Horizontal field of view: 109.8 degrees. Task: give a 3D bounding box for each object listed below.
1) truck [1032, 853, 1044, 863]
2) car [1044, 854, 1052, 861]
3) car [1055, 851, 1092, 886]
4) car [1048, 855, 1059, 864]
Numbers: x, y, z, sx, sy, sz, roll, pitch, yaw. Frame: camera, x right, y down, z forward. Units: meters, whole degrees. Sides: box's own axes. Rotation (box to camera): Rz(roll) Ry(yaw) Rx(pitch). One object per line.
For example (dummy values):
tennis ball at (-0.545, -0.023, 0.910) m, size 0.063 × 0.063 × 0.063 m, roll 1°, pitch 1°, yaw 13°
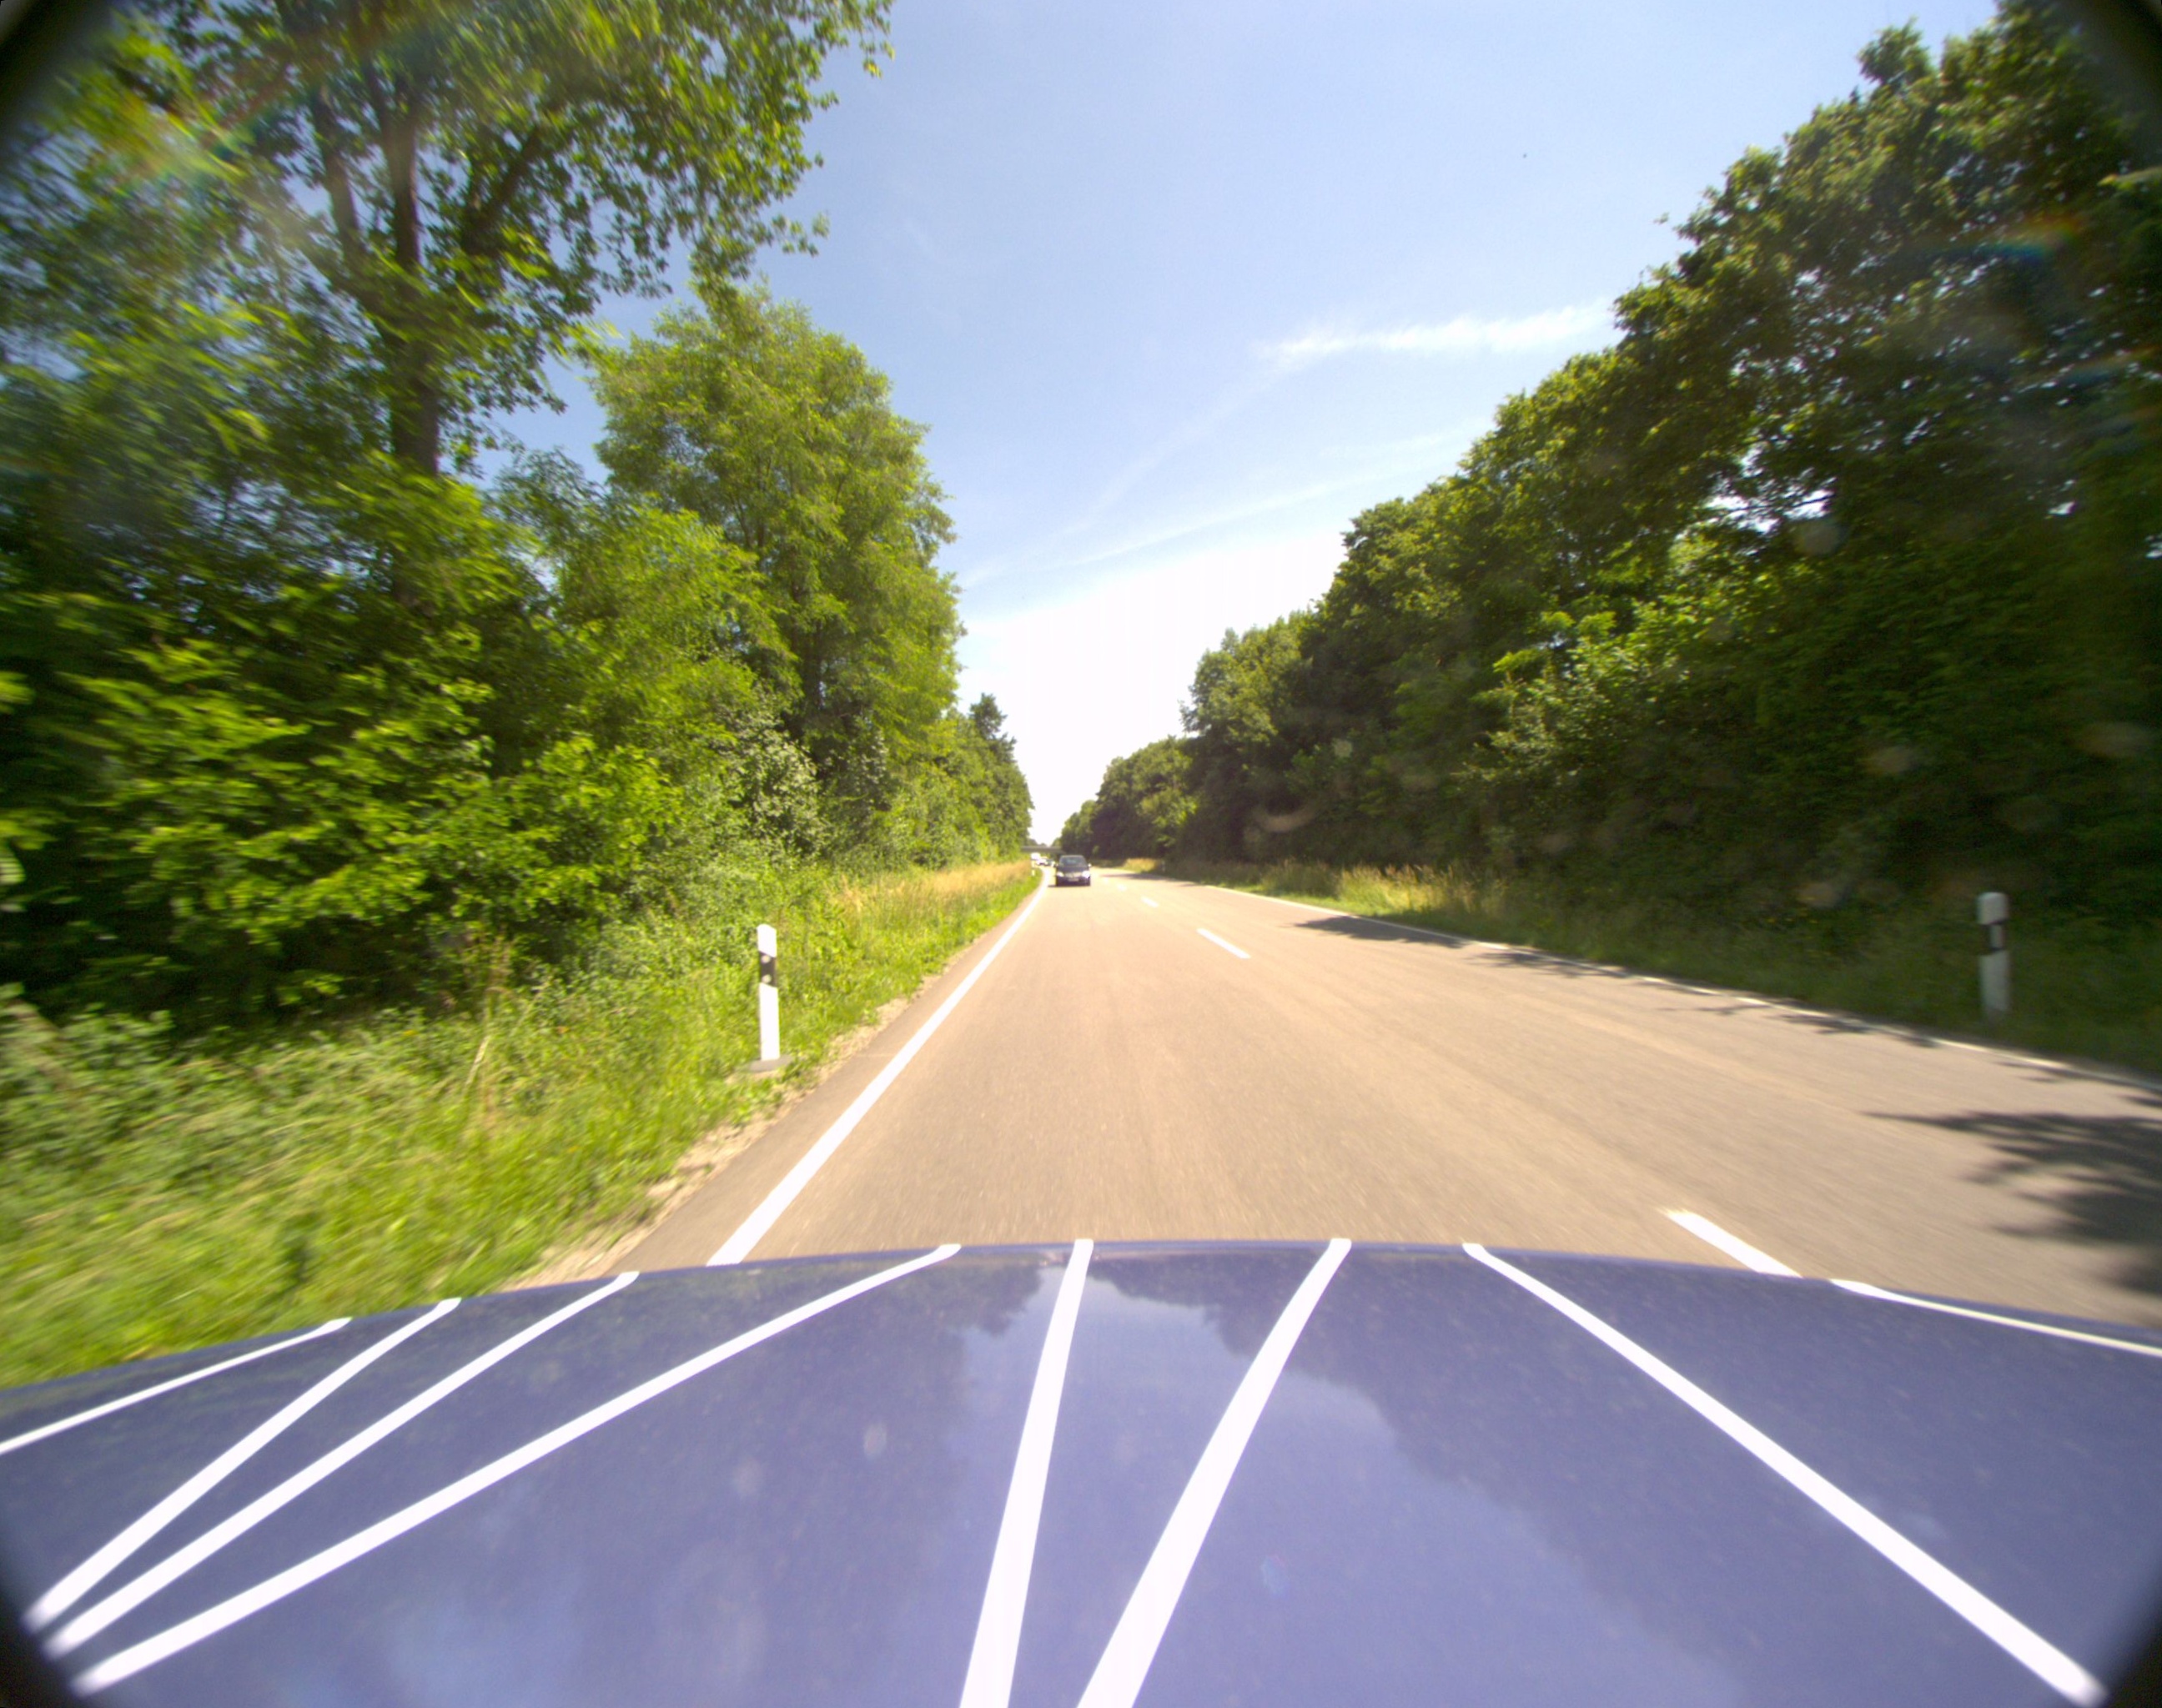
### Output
truck at (-13.385, 1.264, 236.692) m, size 2.579 × 3.111 × 11.190 m, roll -2°, pitch 0°, yaw -9°
car at (-7.271, 0.682, 167.606) m, size 1.710 × 1.524 × 4.777 m, roll -2°, pitch 0°, yaw -4°
car at (-0.438, 0.747, 39.999) m, size 1.784 × 1.675 × 4.779 m, roll -2°, pitch -1°, yaw -2°
car at (-4.875, 0.915, 132.564) m, size 1.710 × 1.524 × 4.777 m, roll -2°, pitch 0°, yaw -4°
